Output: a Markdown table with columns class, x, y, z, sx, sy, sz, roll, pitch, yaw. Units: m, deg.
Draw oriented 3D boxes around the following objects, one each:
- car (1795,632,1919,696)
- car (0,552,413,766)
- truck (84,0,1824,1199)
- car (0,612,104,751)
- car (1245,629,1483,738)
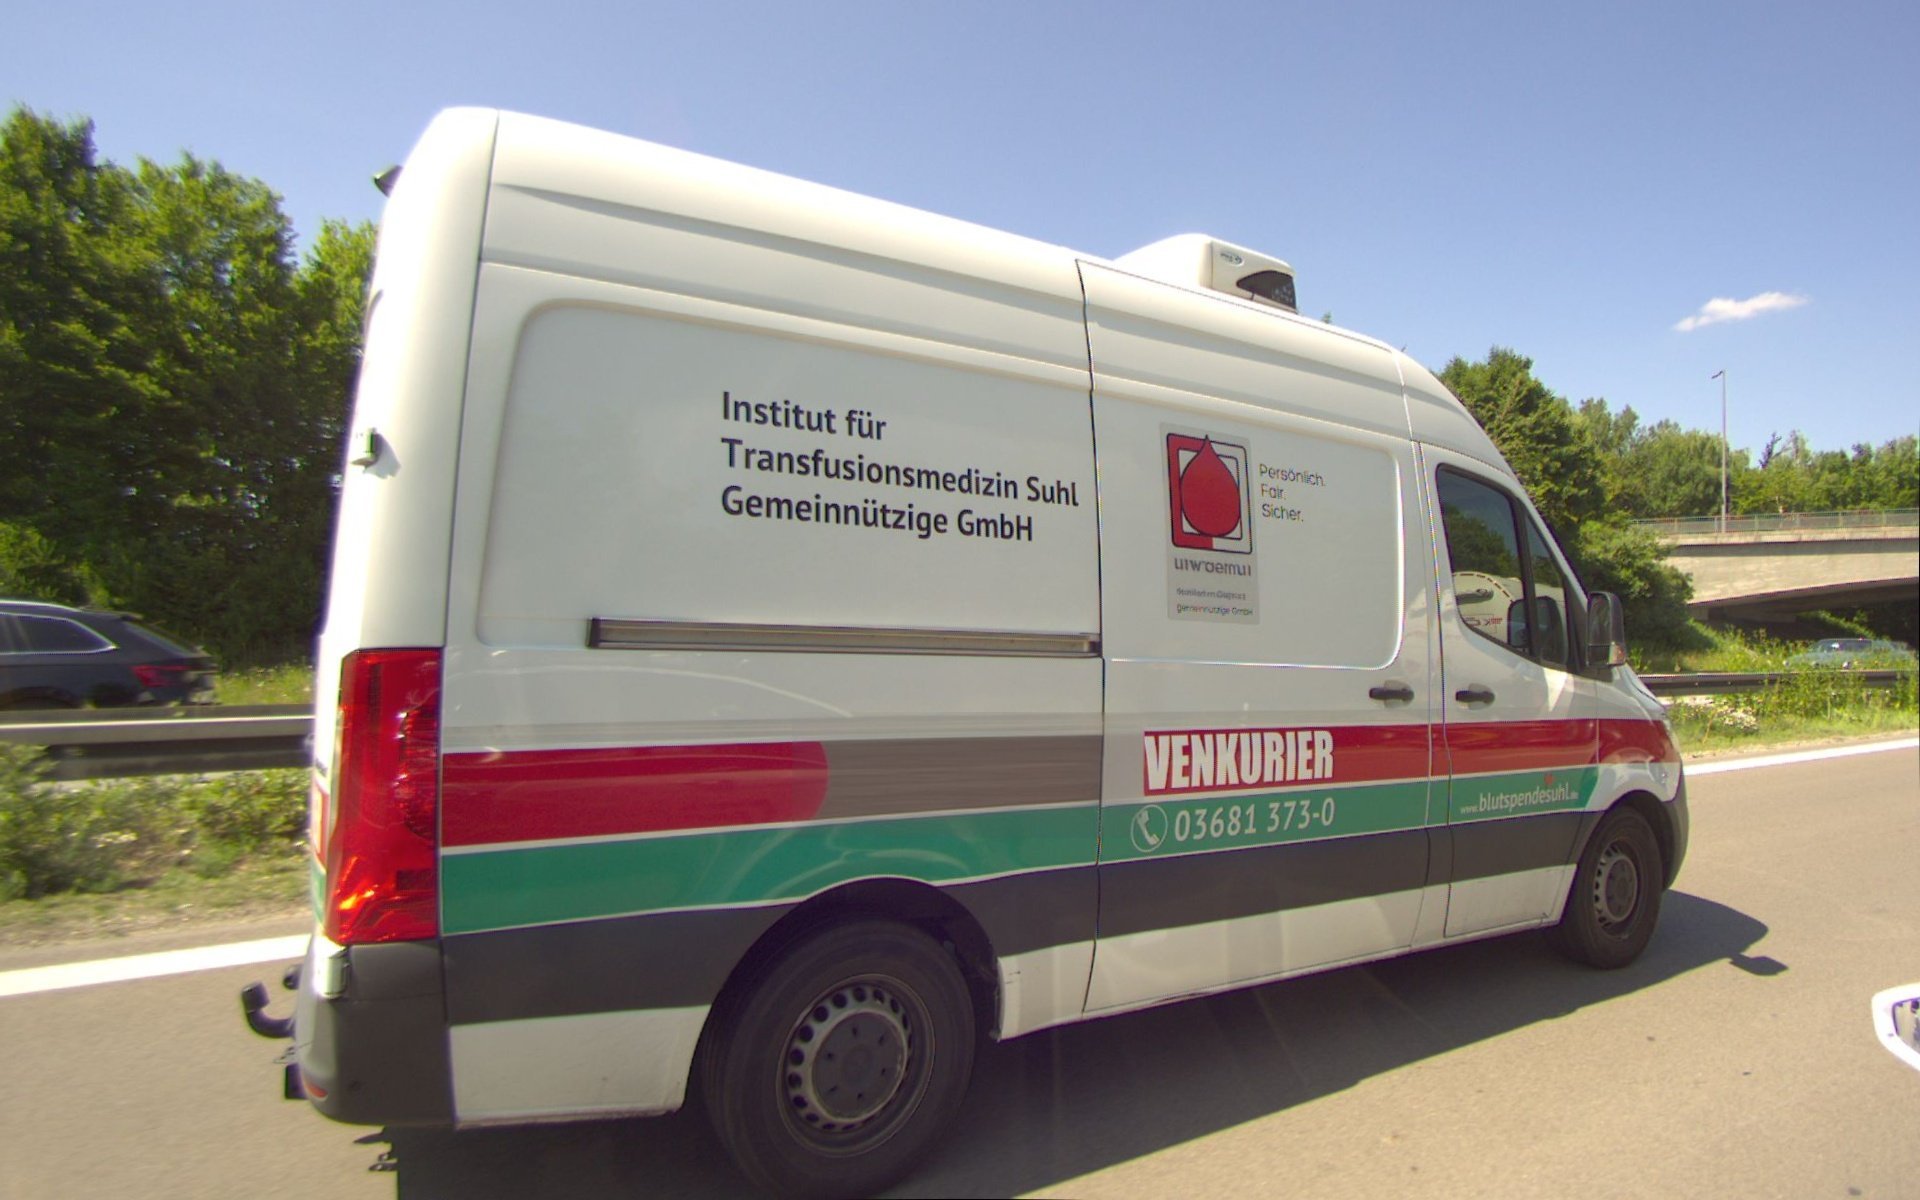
| class | x | y | z | sx | sy | sz | roll | pitch | yaw |
| --- | --- | --- | --- | --- | --- | --- | --- | --- | --- |
| car | 26.371 | 1.824 | 29.331 | 3.954 | 1.715 | 1.863 | 1 | -1 | -31 |
| car | -7.580 | 0.465 | 8.614 | 5.029 | 1.626 | 1.984 | 1 | -1 | -30 |
| truck | 0.922 | 0.176 | 4.217 | 6.612 | 2.576 | 1.984 | 1 | 0 | -30 |
| car | -12.085 | 0.826 | 10.304 | 4.747 | 1.446 | 1.736 | 1 | -1 | -30 |
| car | 7.289 | 1.407 | 18.062 | 3.954 | 1.715 | 1.984 | 1 | -1 | -31 |
